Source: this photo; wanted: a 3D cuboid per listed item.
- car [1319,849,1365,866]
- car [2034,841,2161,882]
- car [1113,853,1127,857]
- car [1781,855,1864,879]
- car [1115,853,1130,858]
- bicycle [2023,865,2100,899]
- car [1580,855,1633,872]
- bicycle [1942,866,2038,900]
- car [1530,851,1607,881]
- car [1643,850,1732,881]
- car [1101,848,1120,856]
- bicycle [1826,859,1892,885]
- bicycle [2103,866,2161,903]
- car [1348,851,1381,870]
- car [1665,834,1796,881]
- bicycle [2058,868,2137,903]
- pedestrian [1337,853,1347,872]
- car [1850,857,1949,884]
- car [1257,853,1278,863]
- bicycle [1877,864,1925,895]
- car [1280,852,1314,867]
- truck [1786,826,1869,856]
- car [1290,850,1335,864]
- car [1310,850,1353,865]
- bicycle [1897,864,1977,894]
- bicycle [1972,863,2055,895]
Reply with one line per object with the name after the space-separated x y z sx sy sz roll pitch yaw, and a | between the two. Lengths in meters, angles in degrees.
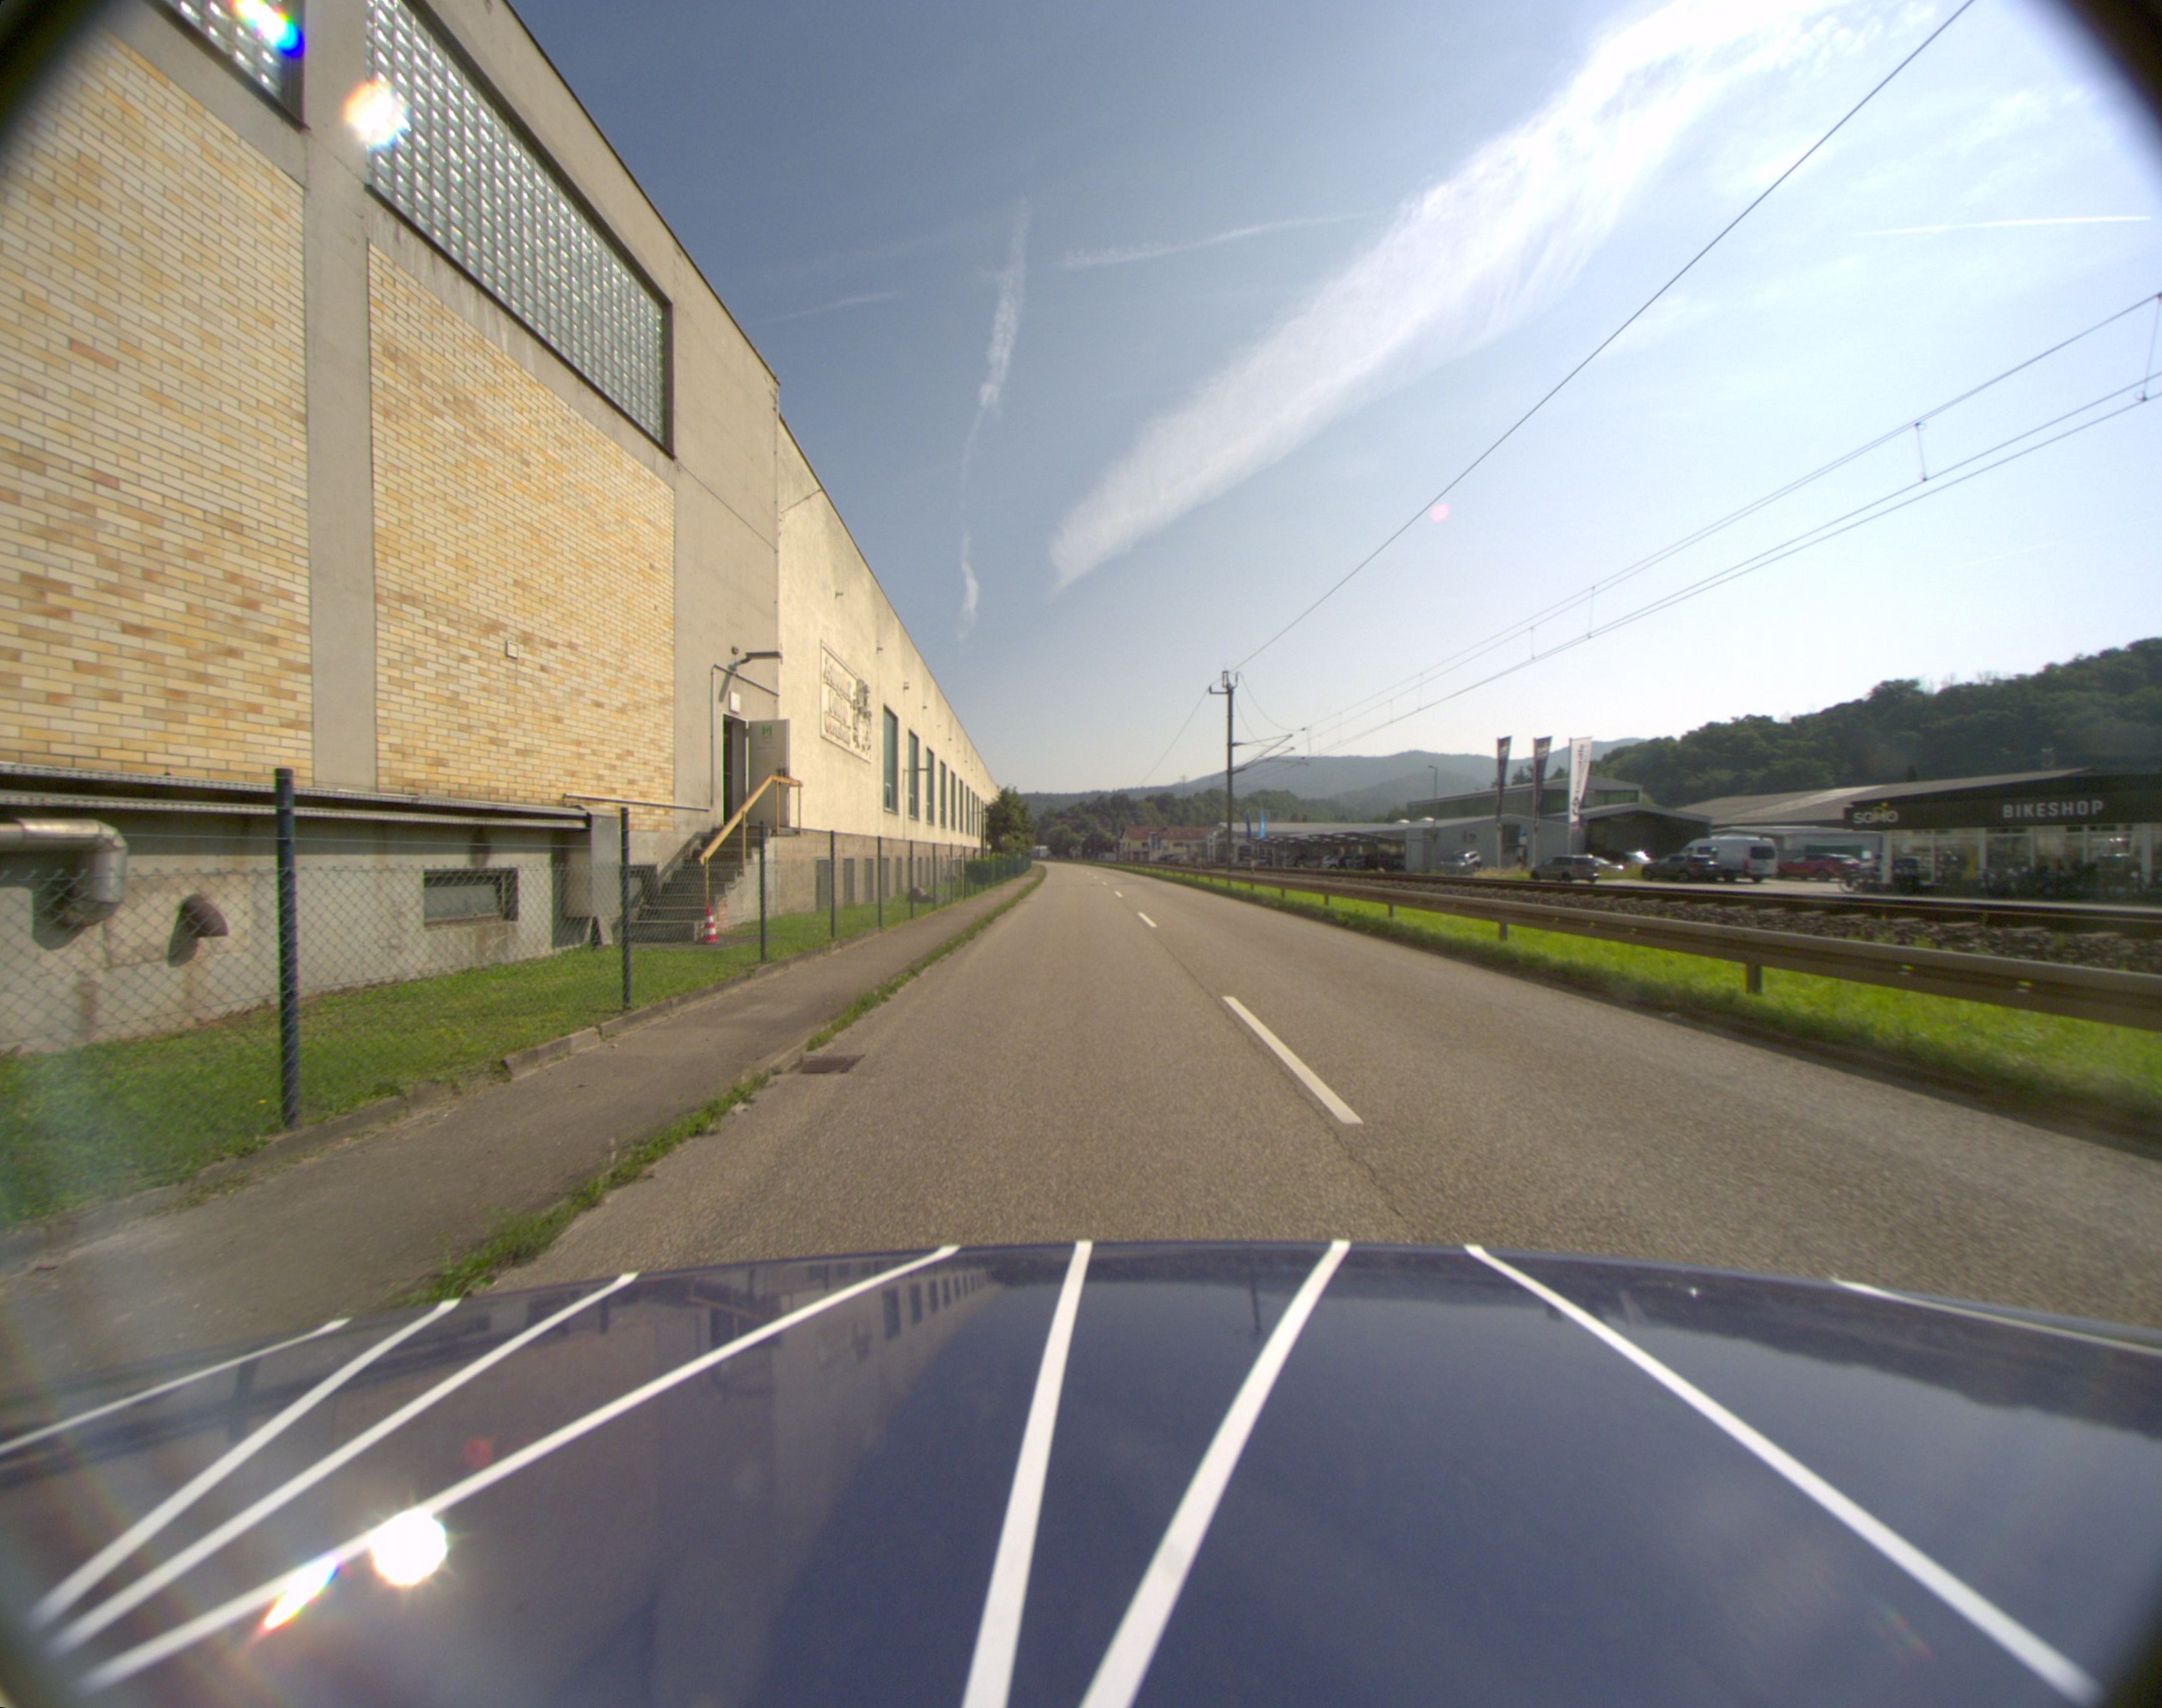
26.466 0.344 77.124 3.968 1.519 1.662 -3 1 -5 | car
58.466 0.379 43.377 1.999 2.199 4.762 0 1 -1 | car
11.361 0.327 219.669 3.859 1.292 1.647 0 0 -11 | car
44.547 0.739 45.735 1.518 1.350 3.520 0 1 -1 | car
11.770 0.380 216.926 3.859 1.292 1.647 0 0 -11 | car
34.061 0.966 26.391 2.175 1.124 0.729 0 1 -12 | bicycle
41.901 0.746 60.707 1.457 1.261 3.484 0 0 -10 | car
32.416 1.010 27.145 0.730 1.124 2.173 0 1 -3 | bicycle
29.109 0.673 45.504 1.523 1.679 4.368 -2 1 -5 | car
36.200 0.657 45.489 1.873 1.654 3.997 0 2 -5 | car
9.076 -0.649 235.619 5.590 2.403 2.235 0 0 -8 | car
33.678 0.777 32.909 2.173 1.124 0.730 0 1 -2 | bicycle
33.373 0.939 23.817 2.175 1.124 0.729 0 1 -12 | bicycle
27.000 0.600 72.353 1.658 1.613 4.039 -2 1 40 | car
39.344 0.112 46.312 2.380 2.618 6.155 0 2 -4 | car
34.298 1.053 25.637 2.175 1.124 0.729 0 1 -12 | bicycle
24.341 0.795 70.903 0.834 1.724 0.806 1 1 21 | pedestrian
49.753 0.956 46.304 1.582 1.532 4.069 0 1 -1 | car
24.915 0.535 101.400 1.842 1.377 4.531 0 0 27 | car
32.474 0.981 30.128 0.728 1.124 2.327 1 1 32 | bicycle
25.816 0.625 90.682 4.279 1.519 1.842 -4 1 -43 | car
61.572 -1.120 62.822 1.999 2.411 4.639 0 2 -5 | truck
25.759 0.283 84.594 1.851 1.496 4.422 -1 0 -41 | car
26.255 0.363 79.663 3.968 1.317 1.501 -3 1 -5 | car
34.253 0.976 30.462 0.729 1.124 2.174 0 1 0 | bicycle
34.025 0.912 27.745 2.173 1.124 0.730 0 1 -2 | bicycle
